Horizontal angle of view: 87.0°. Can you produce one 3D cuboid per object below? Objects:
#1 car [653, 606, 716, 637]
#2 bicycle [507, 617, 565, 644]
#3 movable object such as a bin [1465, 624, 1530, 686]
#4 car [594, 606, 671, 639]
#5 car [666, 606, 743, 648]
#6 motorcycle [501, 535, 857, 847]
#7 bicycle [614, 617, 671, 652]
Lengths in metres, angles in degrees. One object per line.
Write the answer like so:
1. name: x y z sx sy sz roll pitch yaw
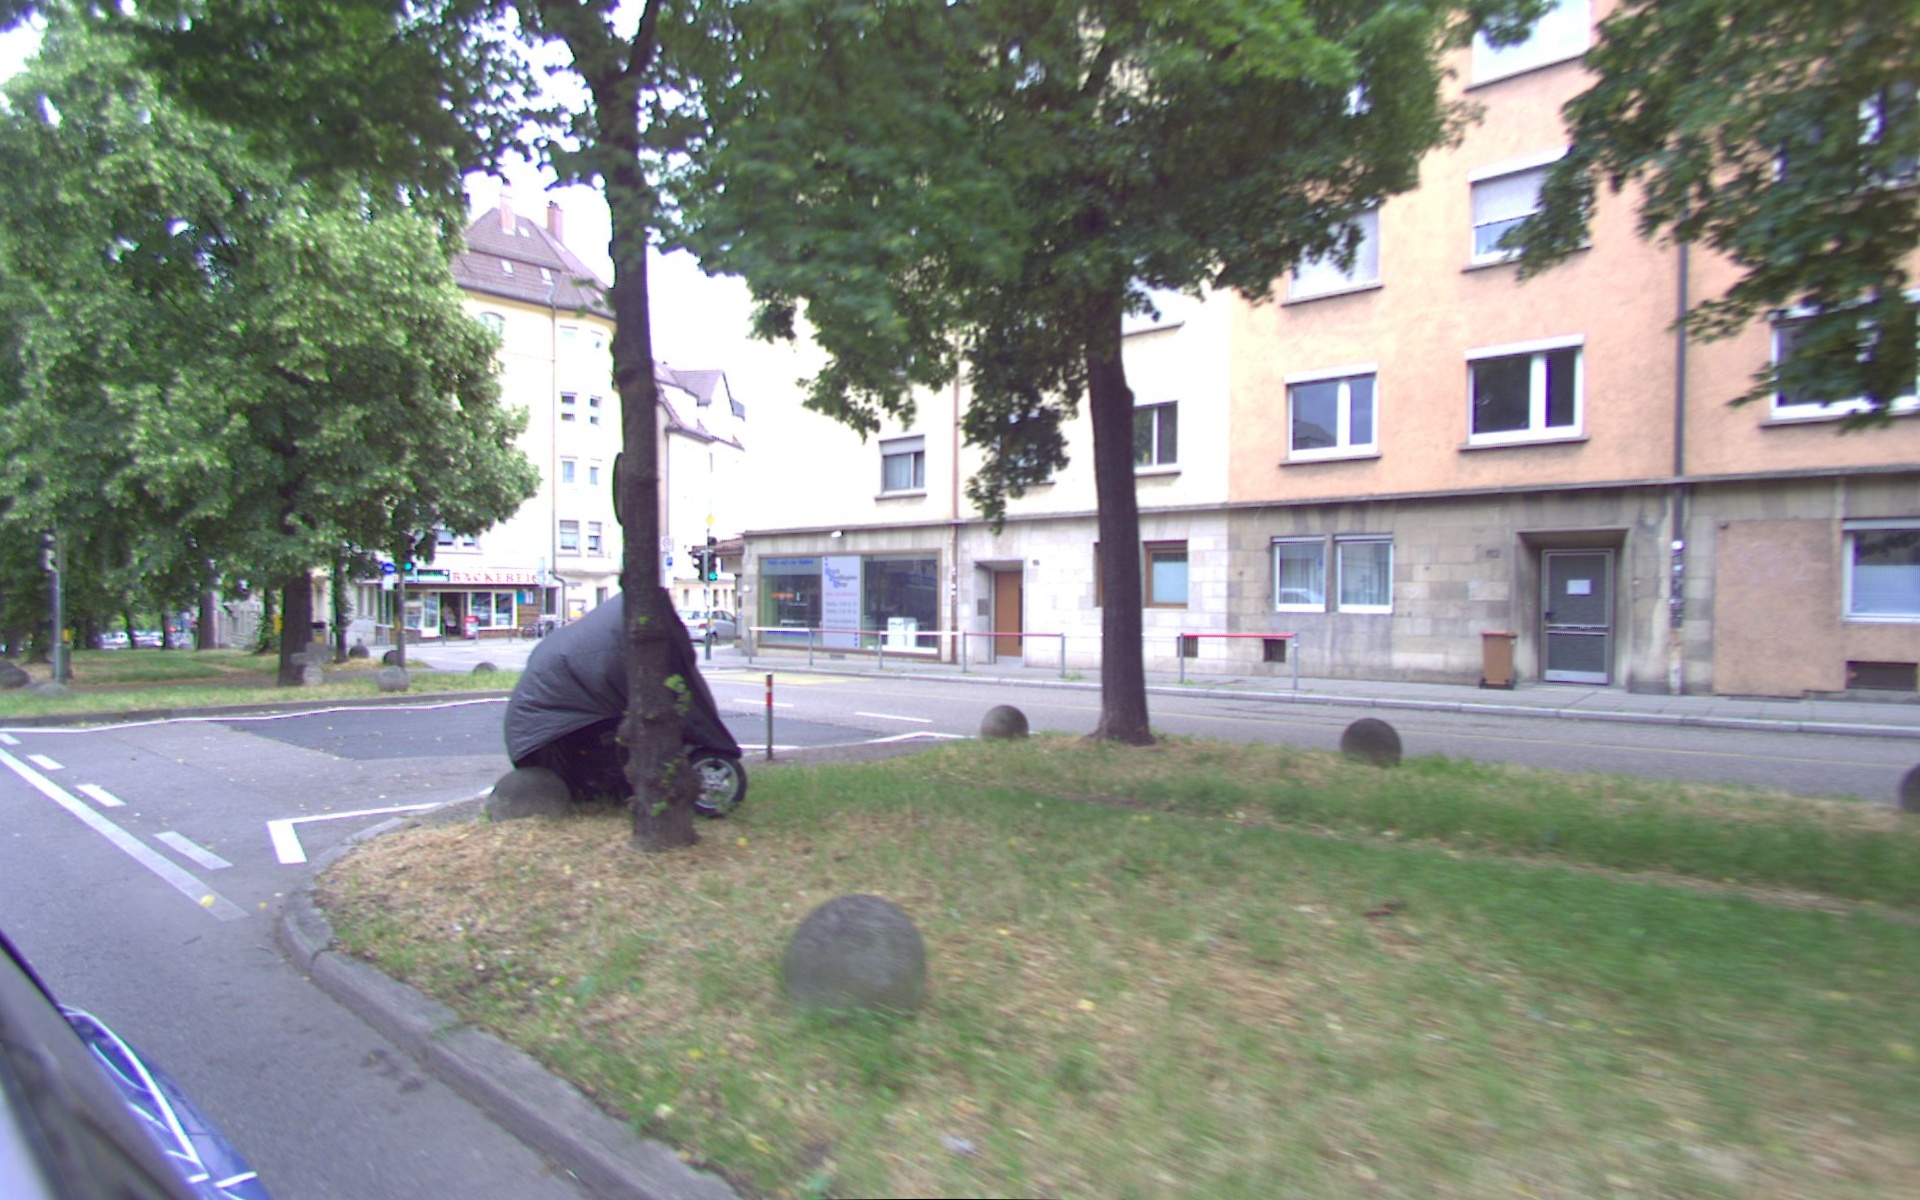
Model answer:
1. car: -14.823 1.147 54.682 1.845 1.553 3.499 -1 0 13
2. bicycle: -19.097 1.349 45.553 2.310 1.108 0.777 -2 0 -30
3. movable object such as a bin: 8.458 0.850 15.930 0.779 0.934 0.507 -2 0 42
4. car: -16.128 1.090 50.016 1.964 1.553 3.791 -1 0 13
5. car: -10.346 1.078 41.206 1.671 1.553 3.629 -3 0 10
6. motorcycle: -1.831 0.517 6.208 2.623 1.542 0.814 -4 -3 43
7. bicycle: -11.389 1.239 36.265 2.050 1.158 0.677 -3 0 30
